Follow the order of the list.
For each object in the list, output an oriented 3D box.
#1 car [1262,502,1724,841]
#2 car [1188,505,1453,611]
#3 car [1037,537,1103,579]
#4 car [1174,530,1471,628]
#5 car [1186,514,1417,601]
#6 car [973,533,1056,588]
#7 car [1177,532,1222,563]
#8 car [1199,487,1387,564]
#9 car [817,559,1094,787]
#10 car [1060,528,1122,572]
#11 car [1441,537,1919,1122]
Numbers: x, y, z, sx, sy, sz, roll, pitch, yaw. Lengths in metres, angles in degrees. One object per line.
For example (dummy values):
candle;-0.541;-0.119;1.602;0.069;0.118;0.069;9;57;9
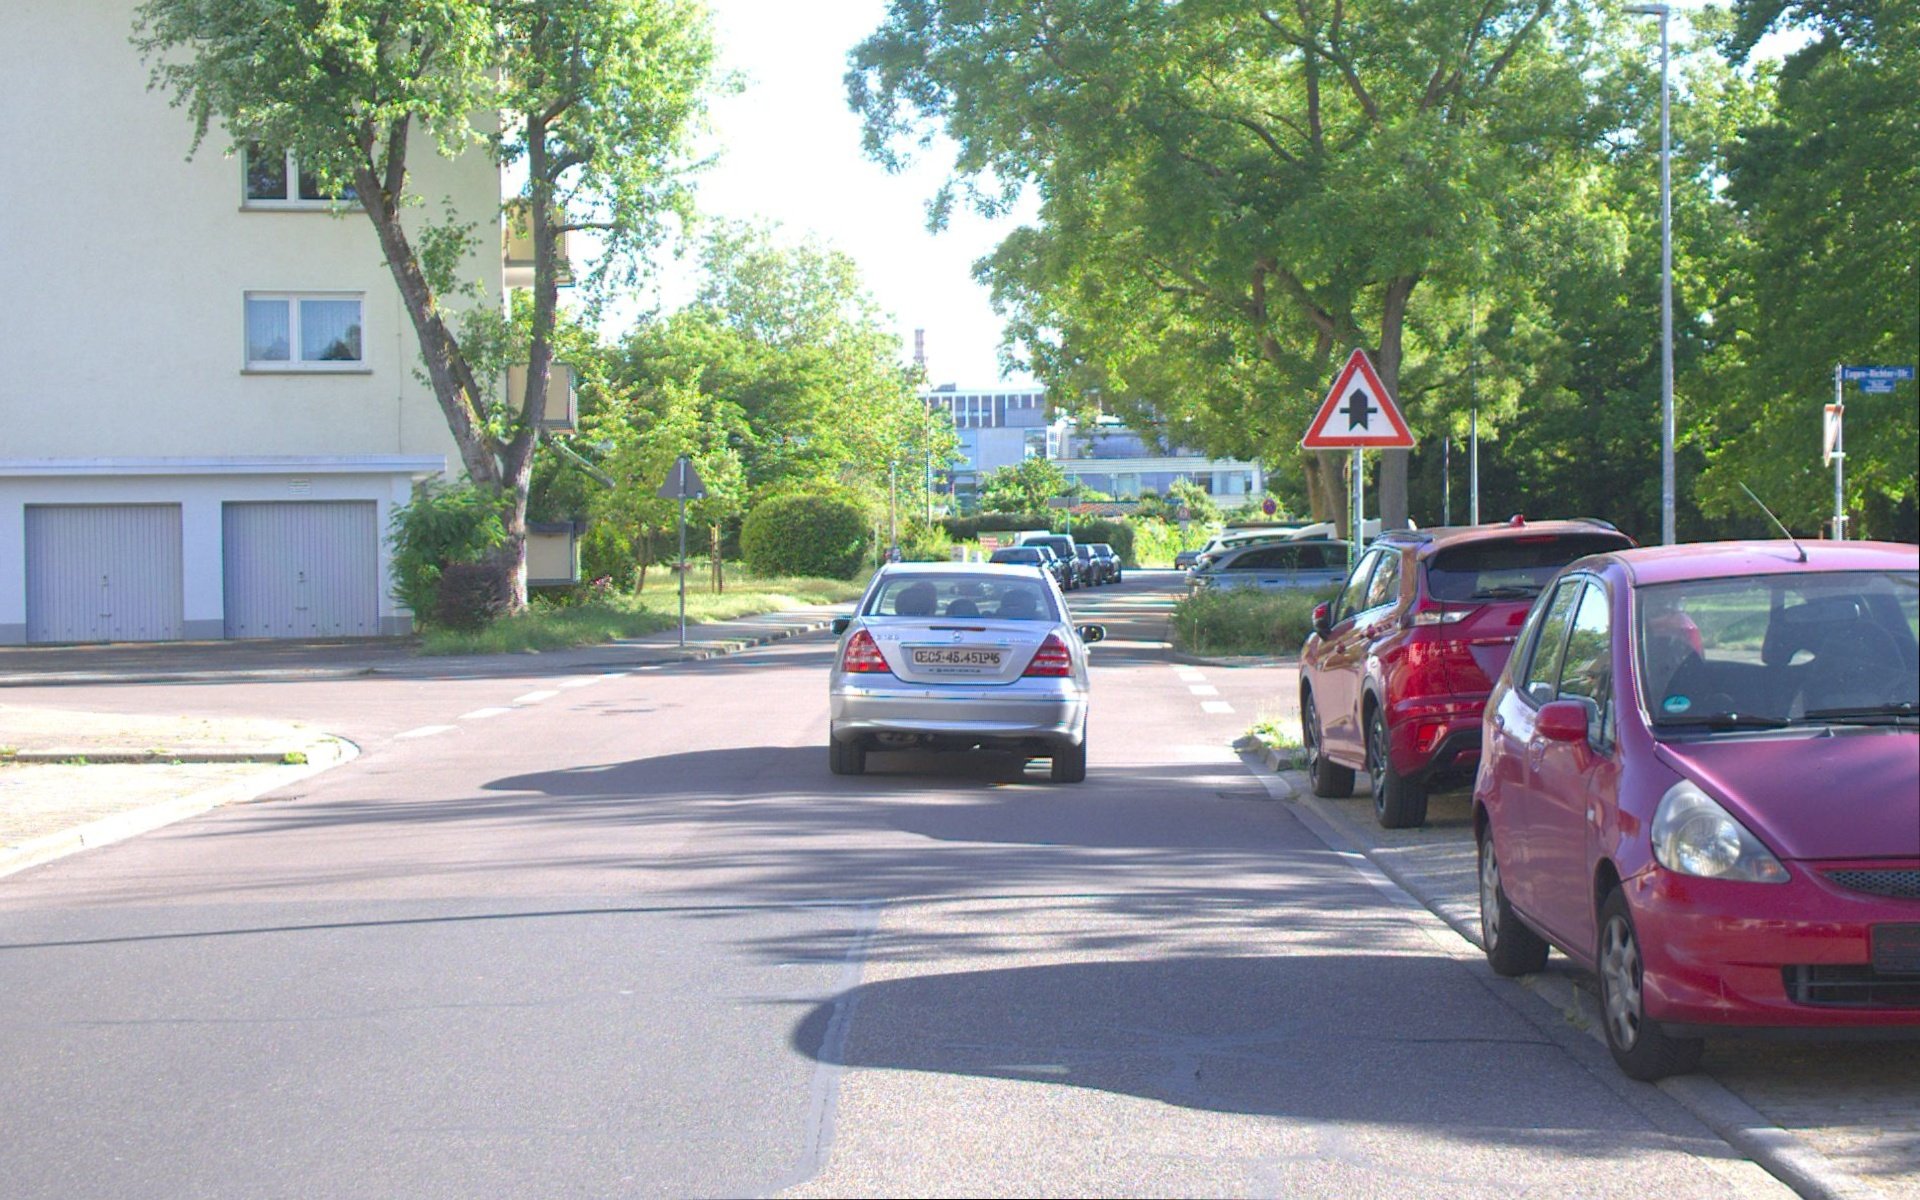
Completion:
car;3.003;0.328;20.351;1.774;1.674;4.645;-3;1;-2
car;7.025;-0.840;67.338;4.884;1.917;2.000;-1;1;-2
car;3.831;-1.476;118.914;1.751;1.325;3.449;-3;1;10
car;6.000;-0.358;57.305;4.782;1.543;2.011;-1;1;3
car;7.424;-0.926;74.775;4.885;1.717;2.000;-2;1;6
car;1.600;-1.166;100.263;1.913;1.485;3.836;-3;1;8
car;12.197;-2.679;174.871;1.894;1.497;3.655;0;1;11
car;9.438;-2.105;97.271;5.219;2.052;2.000;-1;1;7
car;-0.014;0.442;23.266;1.733;1.429;3.438;0;0;0
car;4.785;-1.829;125.267;1.750;1.515;4.192;-2;1;9
car;2.663;0.560;10.896;1.691;1.469;4.000;-1;1;0
